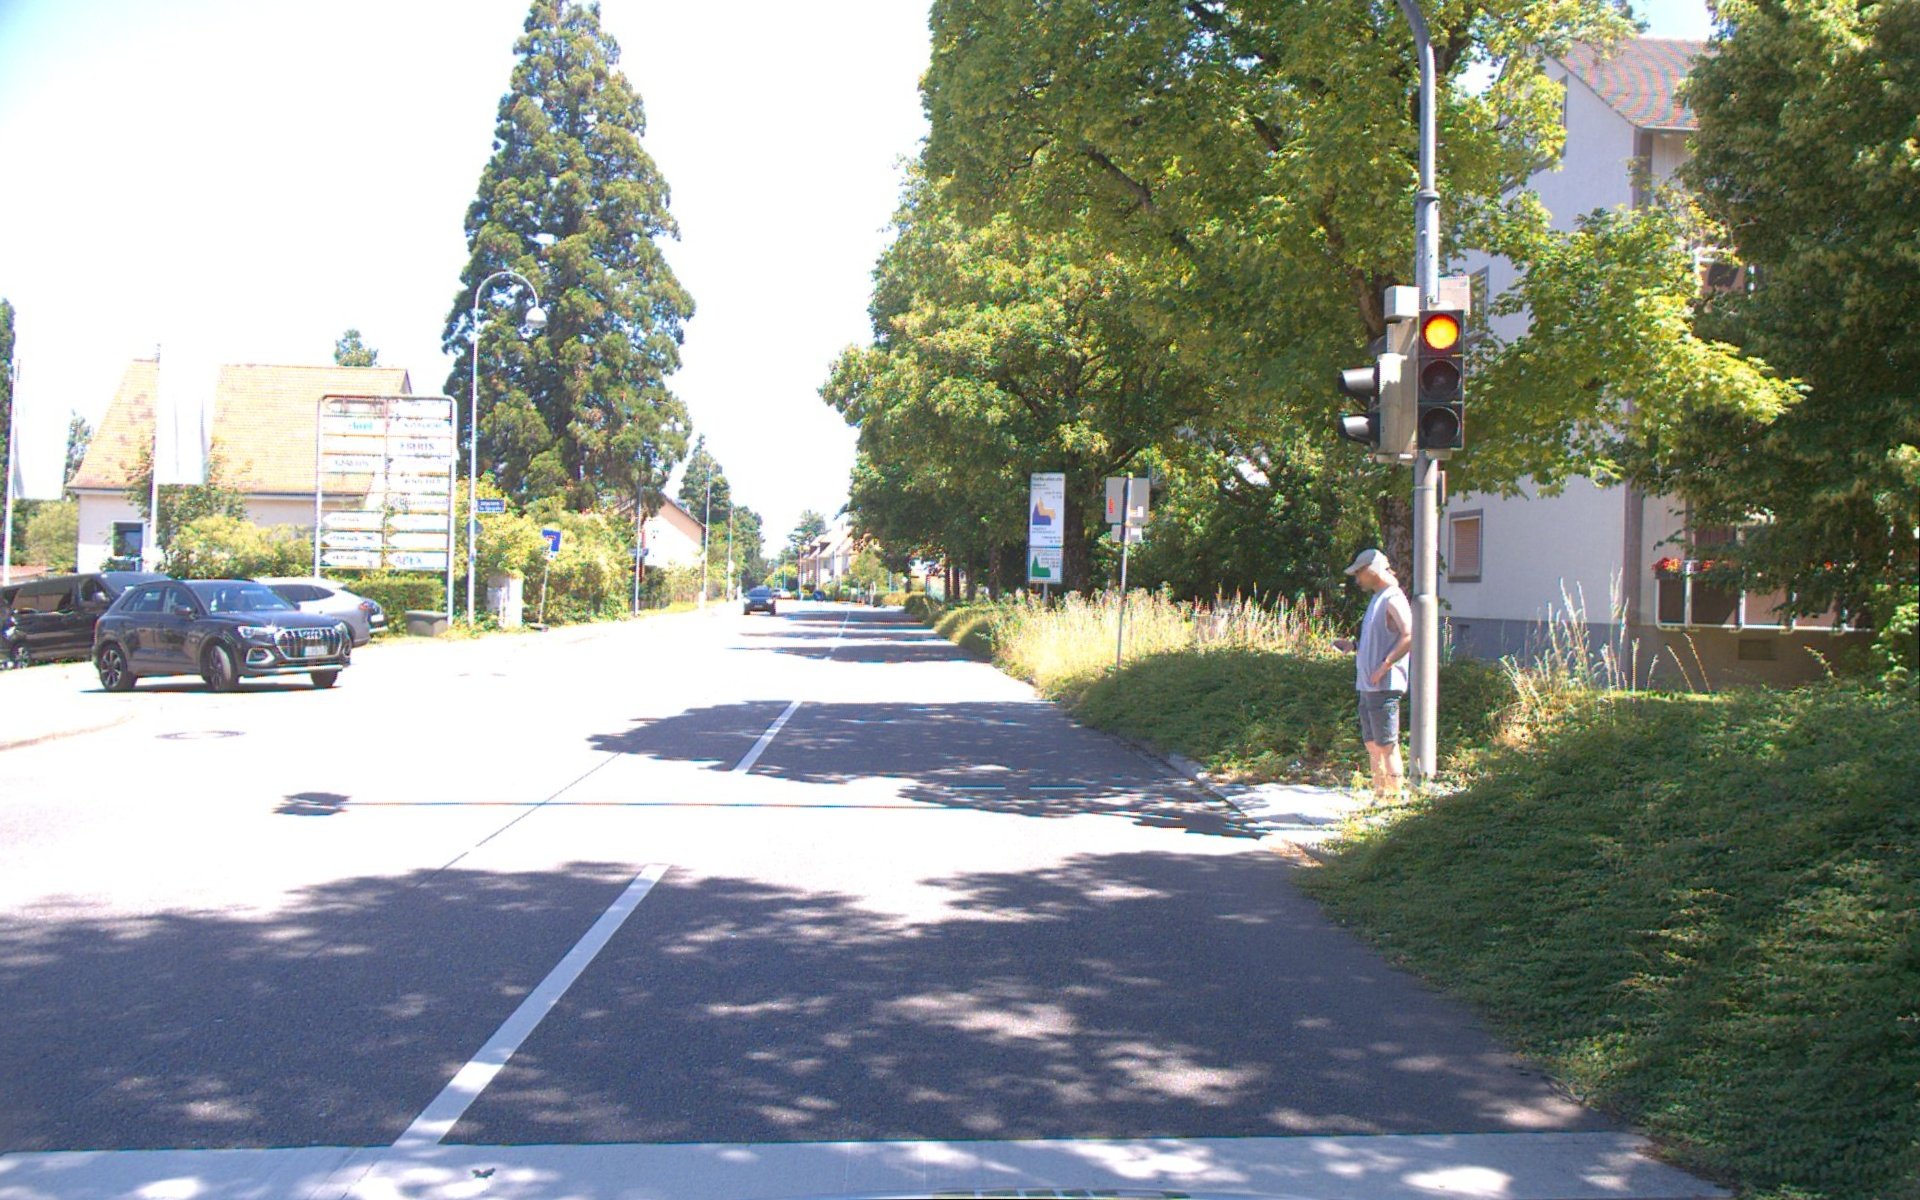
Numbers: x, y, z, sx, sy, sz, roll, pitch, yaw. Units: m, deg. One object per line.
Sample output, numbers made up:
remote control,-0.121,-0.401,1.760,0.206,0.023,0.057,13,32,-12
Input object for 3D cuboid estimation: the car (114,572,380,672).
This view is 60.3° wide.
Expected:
car,-13.332,0.385,31.054,4.267,1.747,1.859,1,0,-39

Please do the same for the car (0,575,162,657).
car,-18.657,0.321,34.317,3.425,1.645,1.598,0,0,-8

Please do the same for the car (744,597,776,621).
car,-11.478,0.519,95.066,1.402,1.345,3.354,1,0,-1

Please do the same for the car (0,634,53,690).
car,-24.449,1.541,41.564,1.713,1.247,3.240,1,0,-5

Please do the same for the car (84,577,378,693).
car,-10.629,0.461,24.056,4.216,1.553,1.924,0,0,32

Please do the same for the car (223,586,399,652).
car,-14.671,0.402,37.528,3.425,1.452,1.598,0,0,-8

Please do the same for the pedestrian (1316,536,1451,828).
pedestrian,2.681,0.506,10.491,0.553,1.781,0.610,1,-1,-25

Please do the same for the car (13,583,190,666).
car,-18.930,0.530,36.583,3.089,1.744,1.569,1,0,-11
